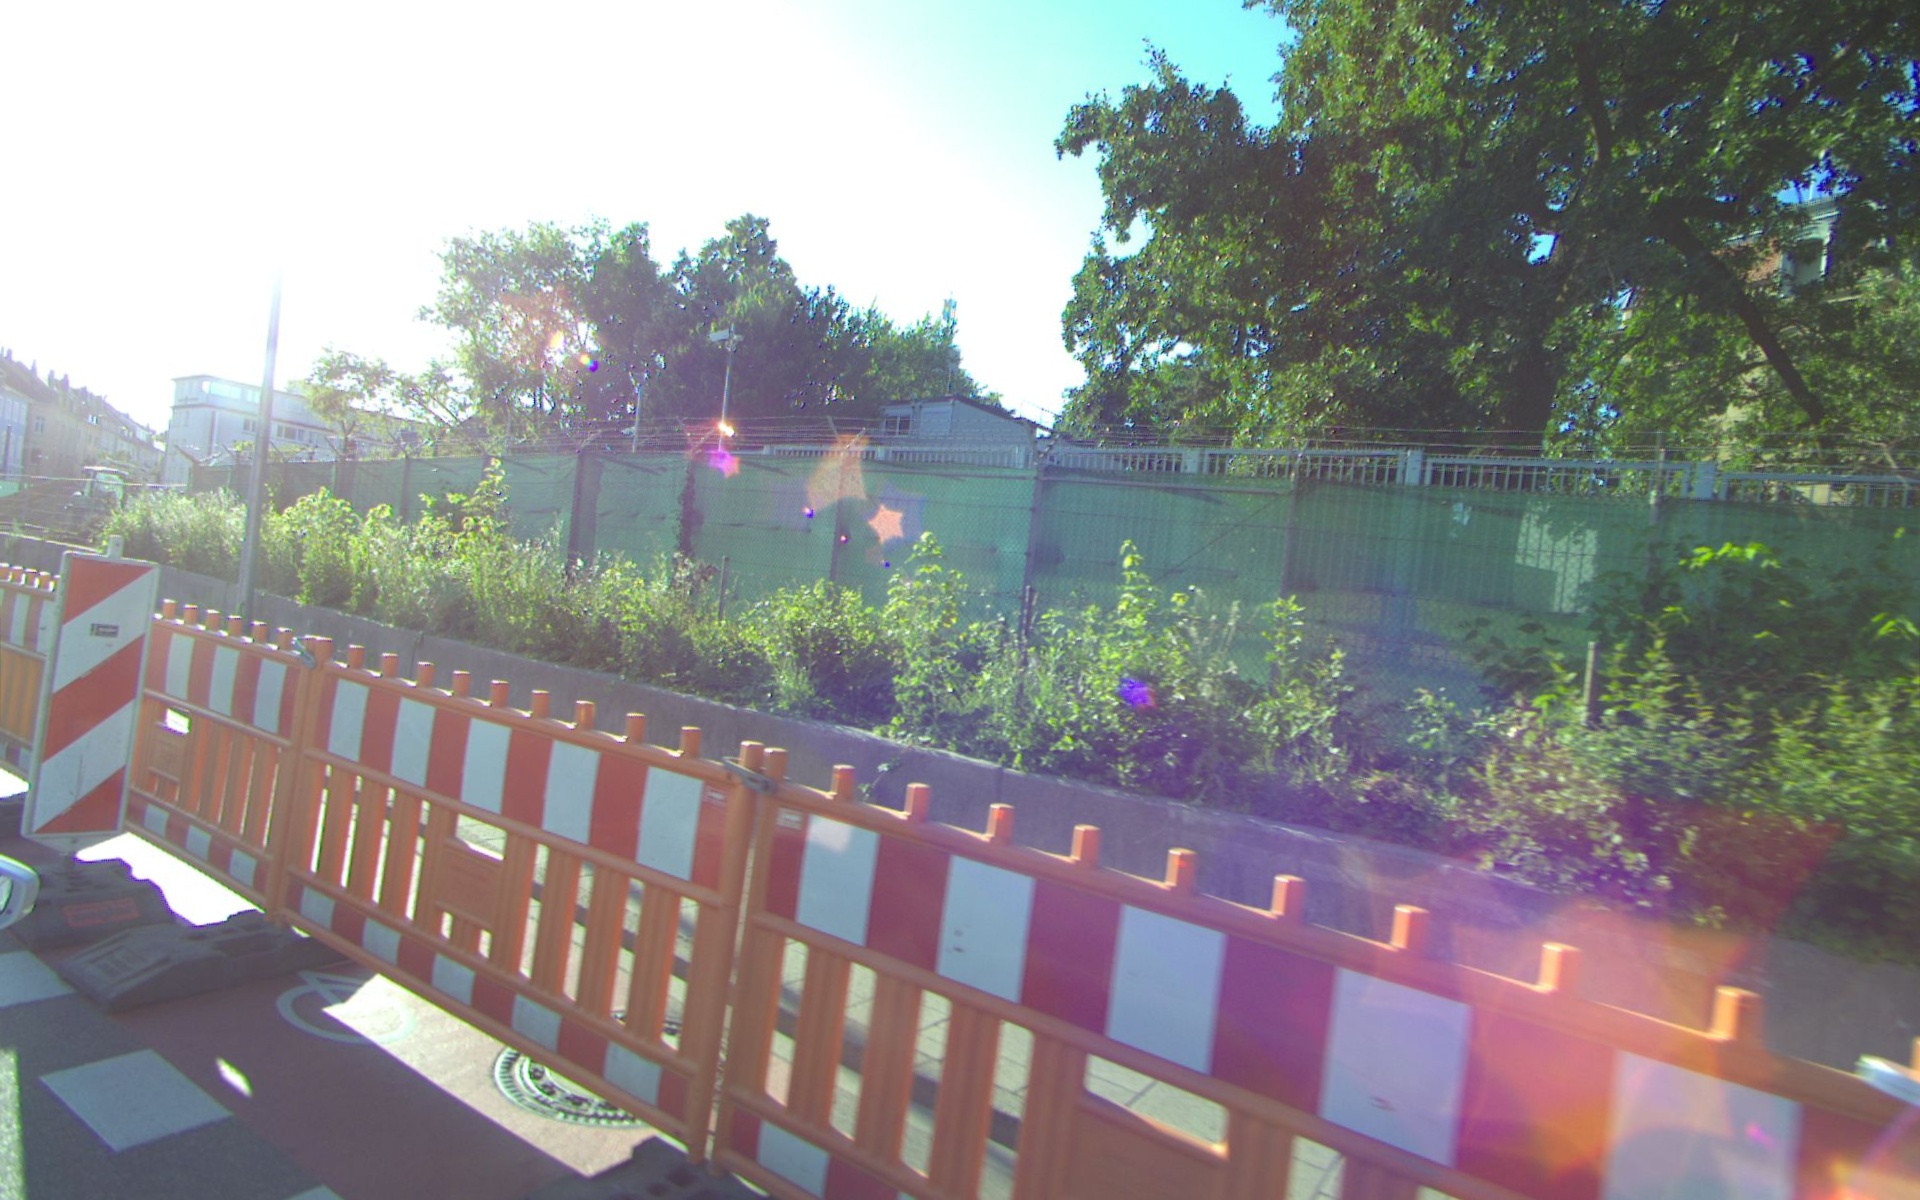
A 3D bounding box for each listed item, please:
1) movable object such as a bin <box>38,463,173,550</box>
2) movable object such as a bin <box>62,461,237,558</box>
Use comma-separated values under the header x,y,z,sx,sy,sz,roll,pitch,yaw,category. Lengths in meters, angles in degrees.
x,y,z,sx,sy,sz,roll,pitch,yaw,category
-32.387,-3.553,38.095,4.859,2.737,2.279,6,0,31,movable object such as a bin
-38.770,-4.254,48.429,6.023,3.601,2.836,7,0,-34,movable object such as a bin
